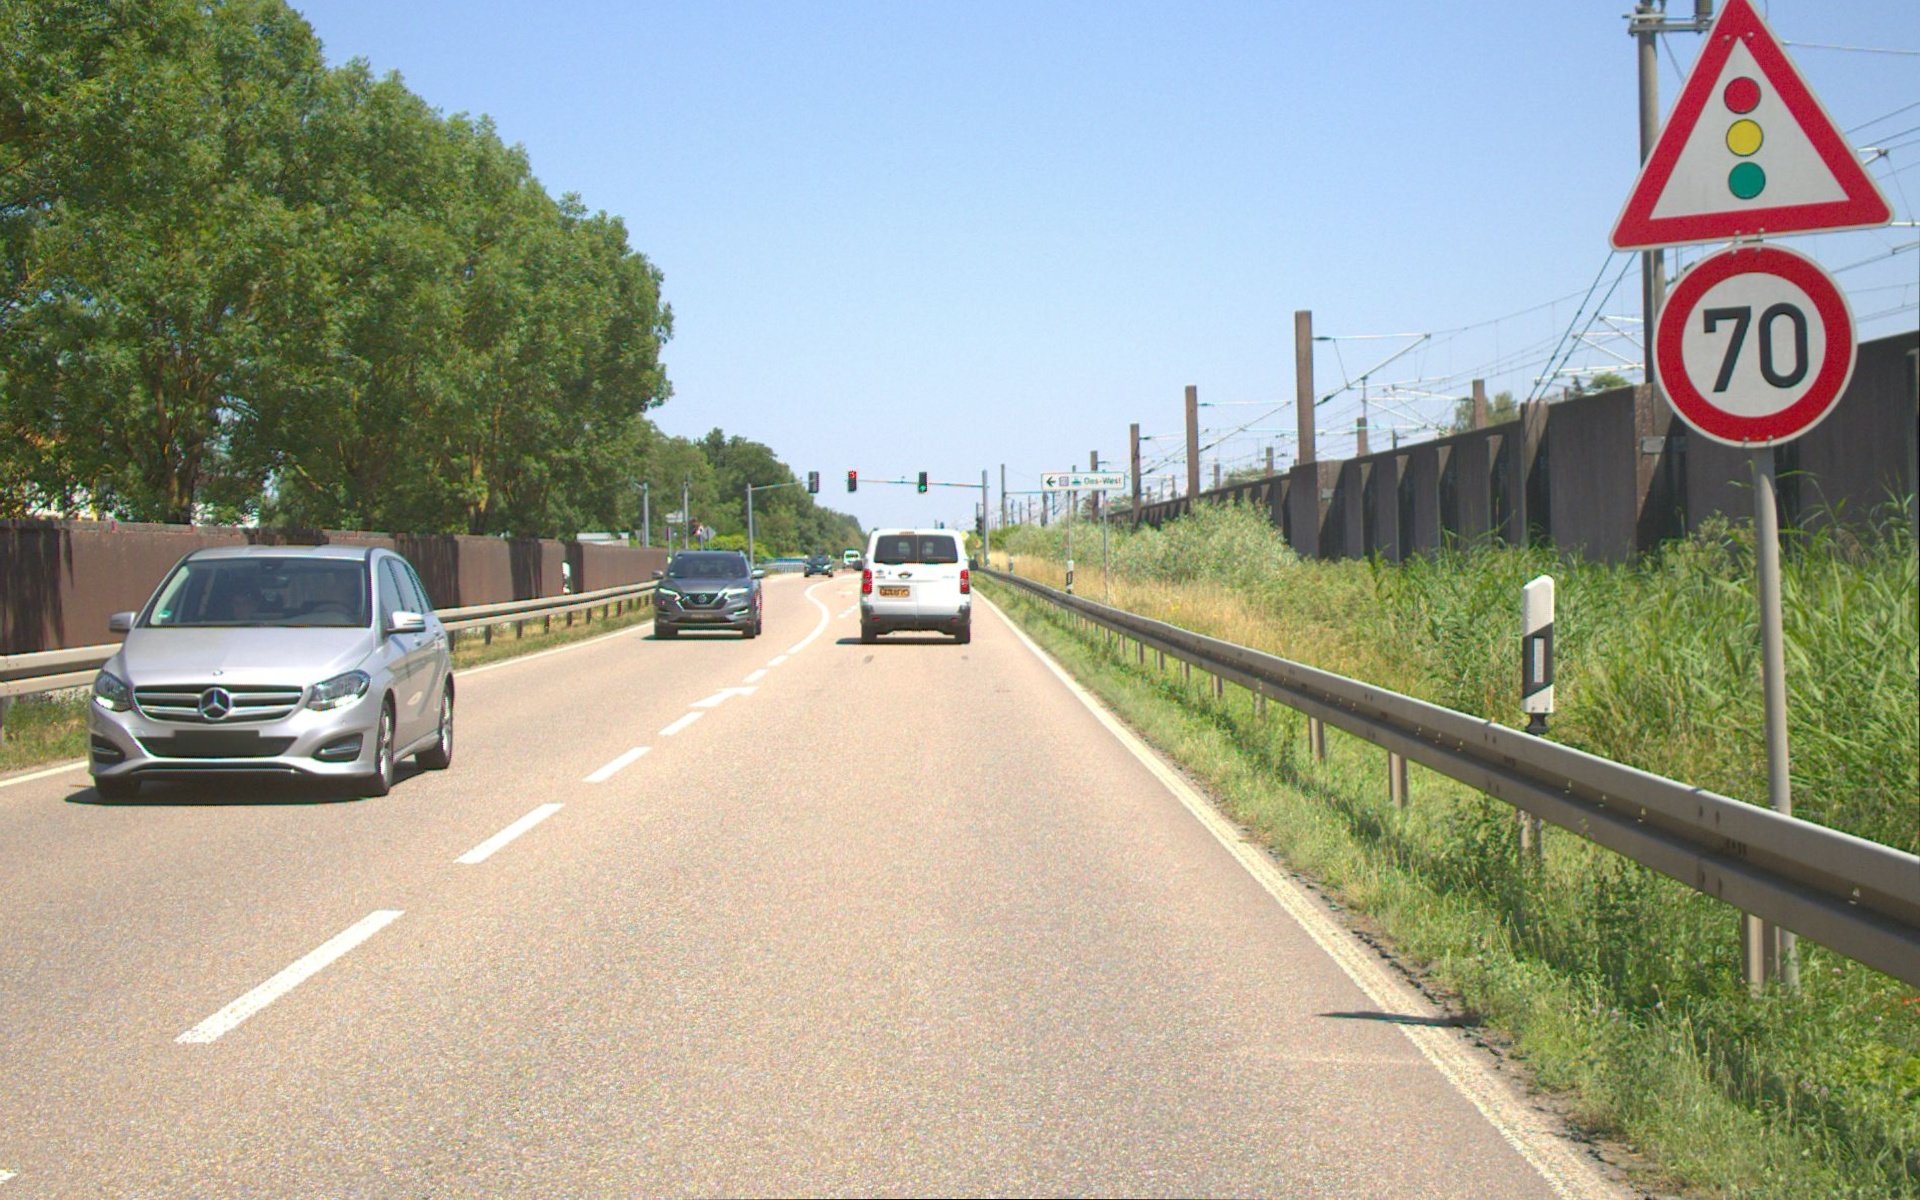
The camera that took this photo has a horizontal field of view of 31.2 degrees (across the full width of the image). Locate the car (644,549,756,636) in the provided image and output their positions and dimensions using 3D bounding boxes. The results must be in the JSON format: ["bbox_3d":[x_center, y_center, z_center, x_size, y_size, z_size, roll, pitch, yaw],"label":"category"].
[{"bbox_3d":[-4.693,-0.163,62.467,1.789,1.520,4.390,0,1,-1],"label":"car"}]

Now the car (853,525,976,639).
[{"bbox_3d":[-0.760,-0.332,58.655,1.993,1.843,4.000,1,1,0],"label":"car"}]

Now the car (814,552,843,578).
[{"bbox_3d":[-8.397,-2.251,220.031,1.819,1.590,4.000,1,1,-2],"label":"car"}]

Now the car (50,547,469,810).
[{"bbox_3d":[-4.368,0.422,22.093,1.789,1.520,4.390,0,1,0],"label":"car"}]
